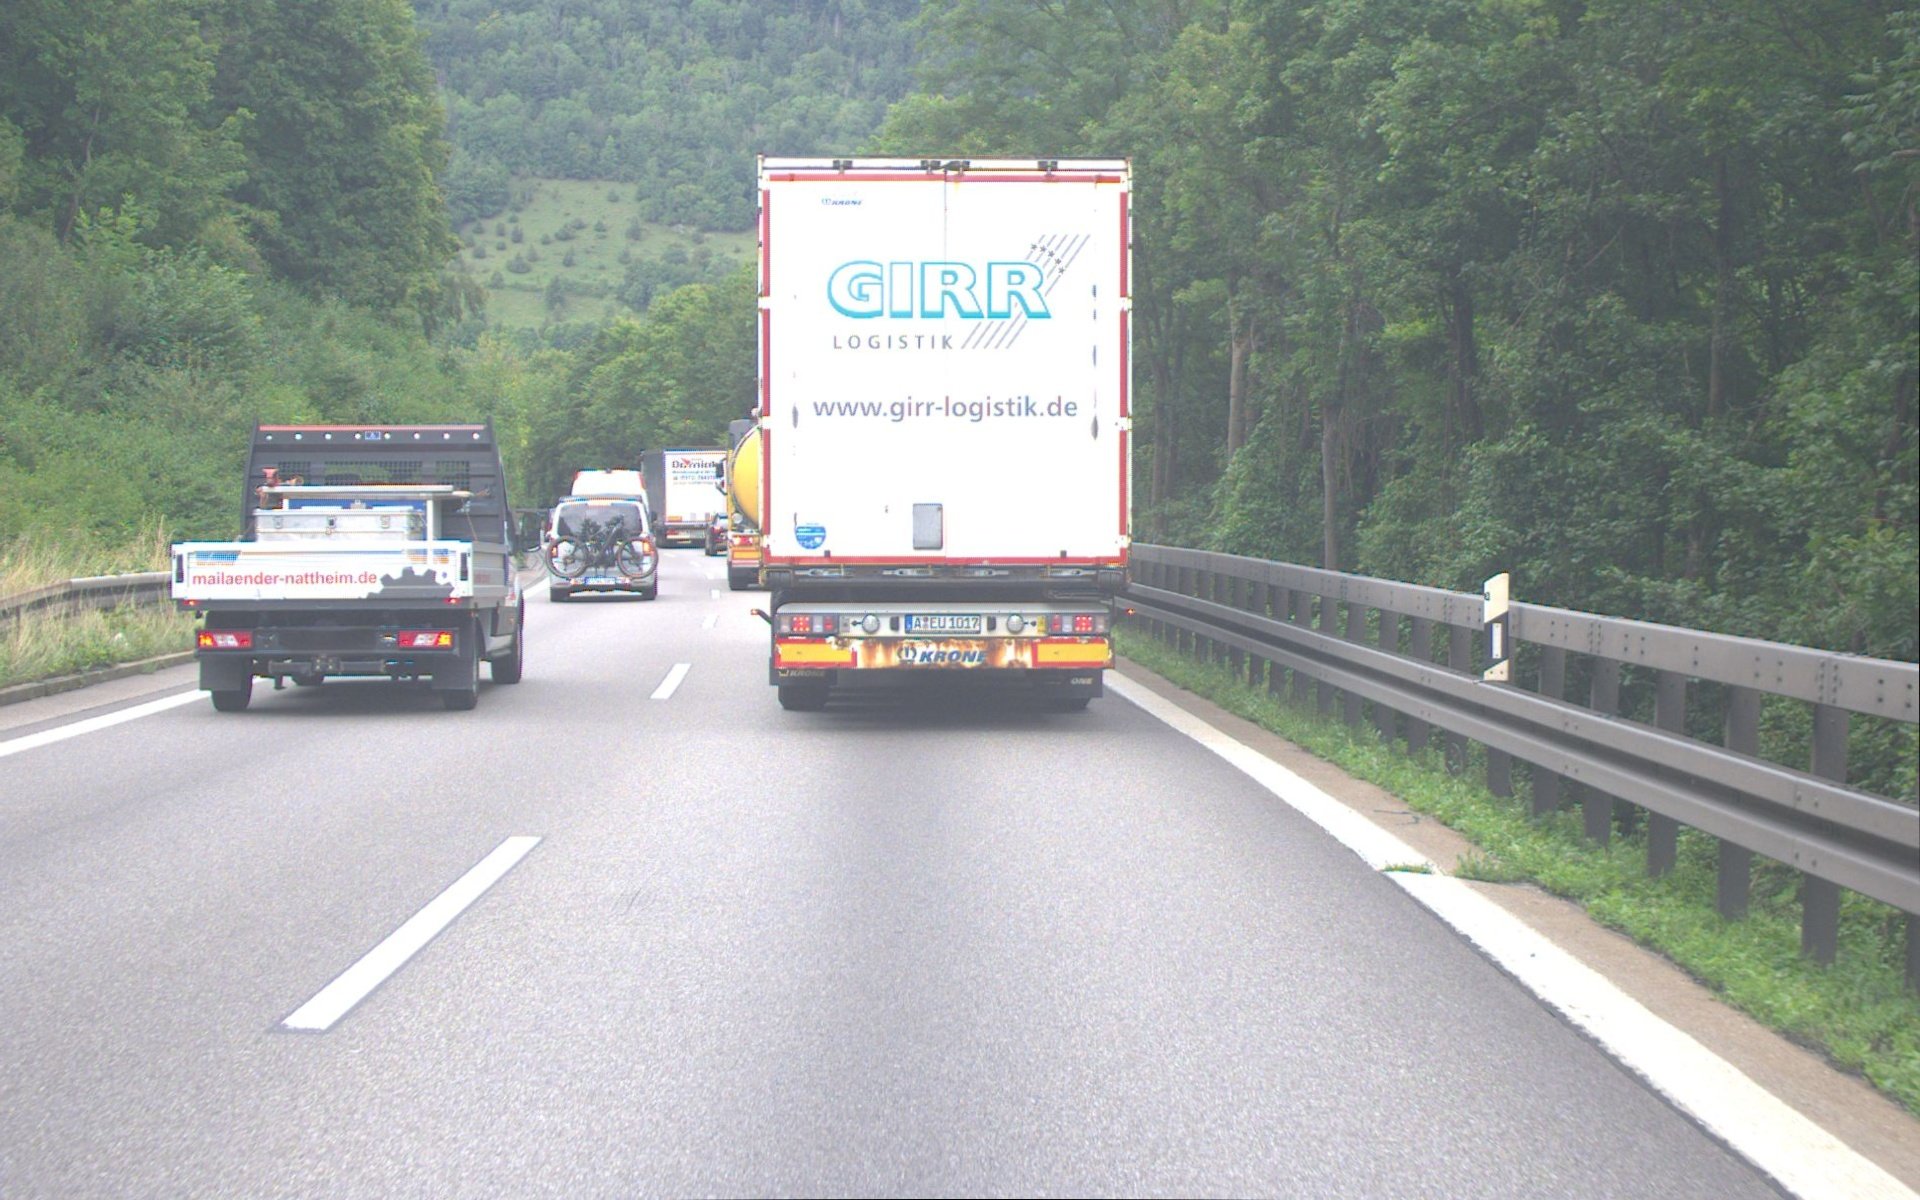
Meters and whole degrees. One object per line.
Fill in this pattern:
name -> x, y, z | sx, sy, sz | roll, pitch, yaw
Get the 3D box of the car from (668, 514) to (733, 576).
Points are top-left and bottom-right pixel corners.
car -> -8.845, -1.884, 116.876 | 1.993, 2.007, 4.001 | 1, 1, -7

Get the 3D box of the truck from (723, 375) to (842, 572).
truck -> -3.623, -2.527, 70.265 | 2.233, 3.790, 6.824 | 1, 1, -3

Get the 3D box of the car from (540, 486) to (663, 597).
car -> -6.549, -1.120, 63.293 | 2.018, 1.907, 5.564 | 1, 2, -4

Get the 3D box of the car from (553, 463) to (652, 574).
car -> -8.554, -1.979, 82.651 | 2.123, 2.589, 5.564 | 0, 2, -3

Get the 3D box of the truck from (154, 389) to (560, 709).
truck -> -4.763, -0.461, 28.299 | 2.349, 2.266, 6.850 | 1, 2, -2

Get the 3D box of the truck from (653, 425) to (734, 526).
truck -> -10.771, -4.955, 138.709 | 3.068, 3.864, 8.460 | 1, 1, -5

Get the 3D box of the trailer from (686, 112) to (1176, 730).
trailer -> -0.350, -1.347, 27.893 | 3.133, 4.029, 9.441 | 2, 2, -2
